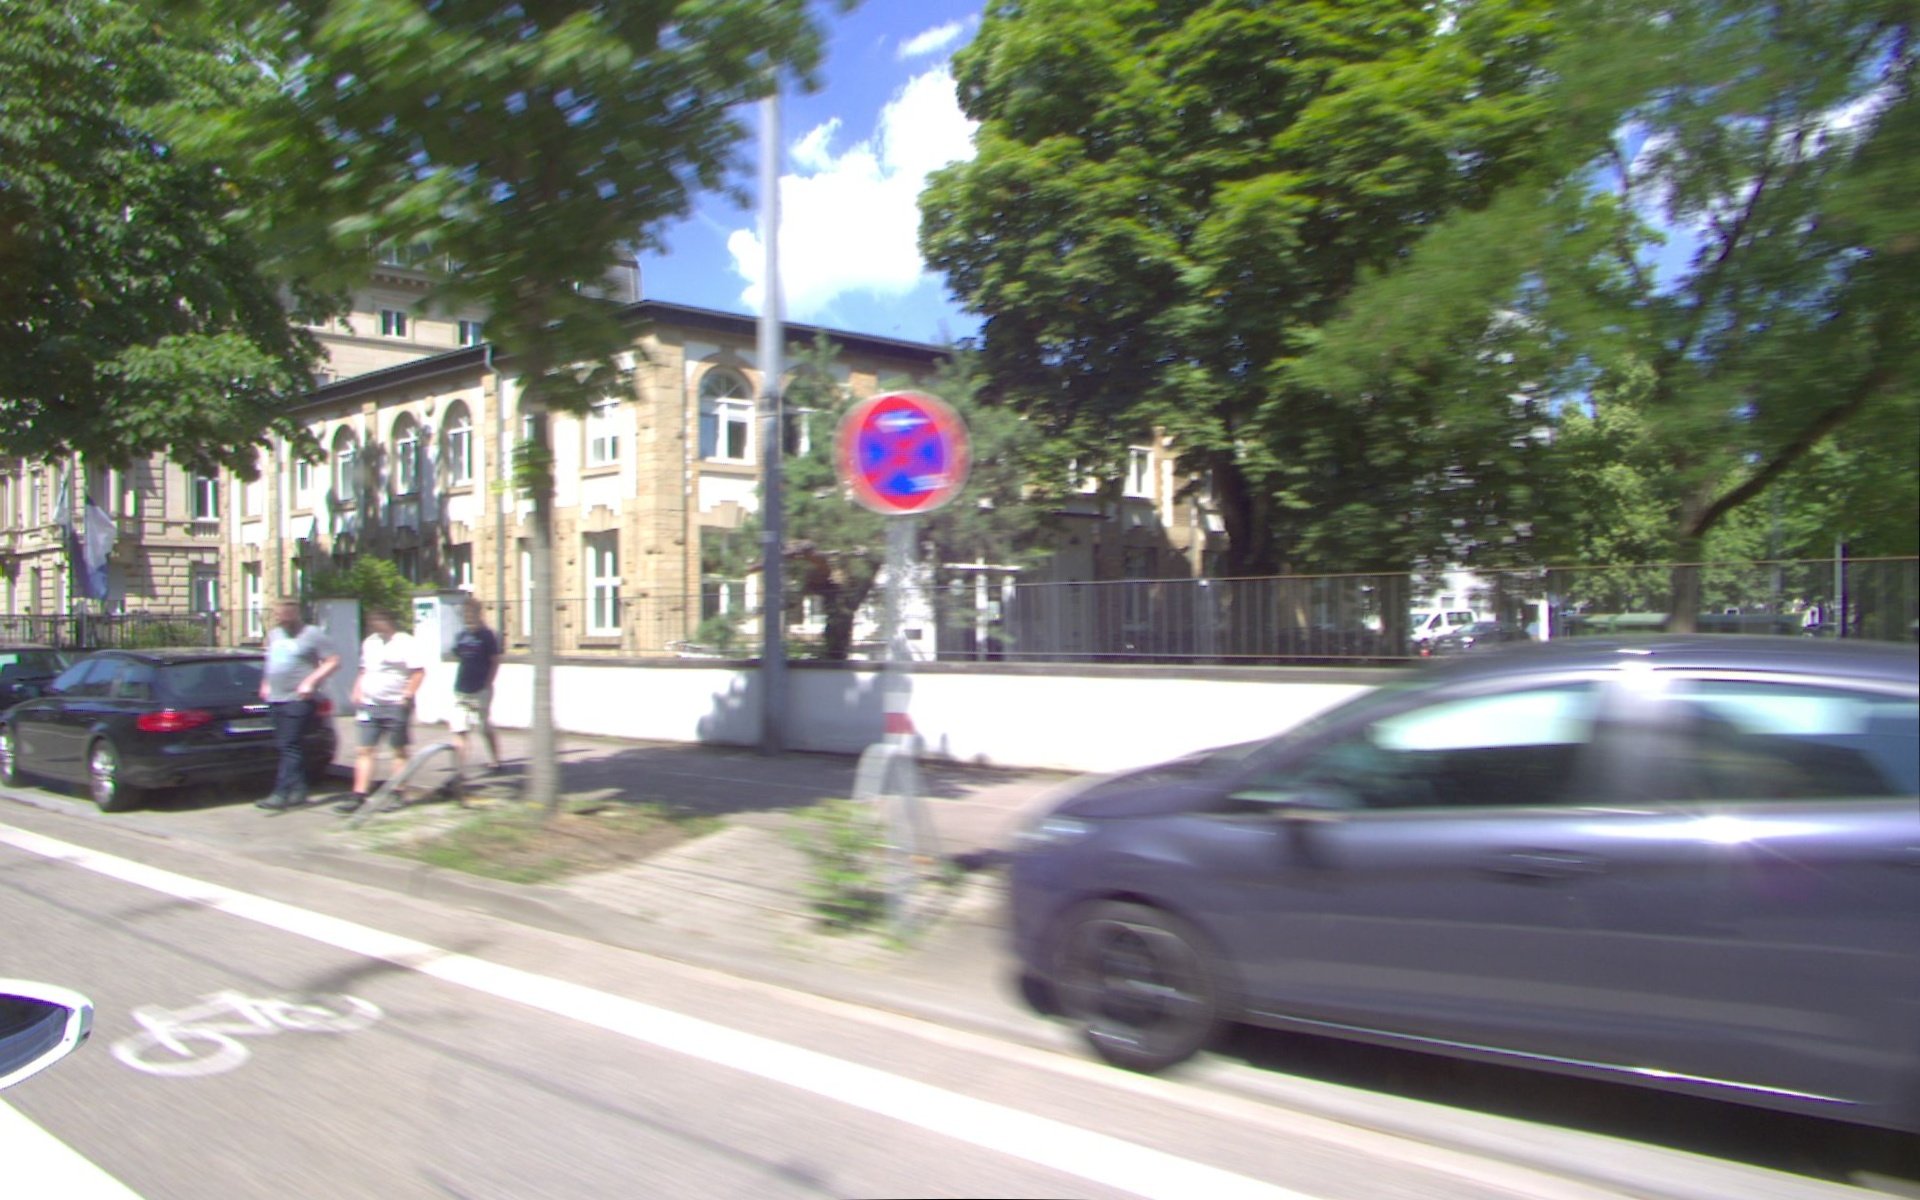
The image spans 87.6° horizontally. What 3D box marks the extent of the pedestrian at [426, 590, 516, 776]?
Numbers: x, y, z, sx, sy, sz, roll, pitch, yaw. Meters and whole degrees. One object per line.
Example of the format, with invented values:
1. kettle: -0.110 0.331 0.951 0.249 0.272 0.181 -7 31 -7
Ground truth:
1. pedestrian: -4.769 0.792 9.785 0.608 1.760 0.478 -1 0 -4

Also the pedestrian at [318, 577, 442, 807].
1. pedestrian: -4.922 0.759 8.525 0.712 1.884 0.576 -1 0 -4

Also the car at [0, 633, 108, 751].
1. car: -13.591 1.205 13.737 4.183 1.441 1.708 -2 -1 32

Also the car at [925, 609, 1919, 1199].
1. car: 1.927 0.808 3.637 3.814 1.504 1.637 -2 -1 29

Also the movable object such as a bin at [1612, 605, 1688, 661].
1. movable object such as a bin: 19.040 0.889 27.644 1.392 1.482 1.379 0 -1 -38

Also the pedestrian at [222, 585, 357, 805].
1. pedestrian: -5.947 0.820 8.911 0.795 1.884 0.576 -1 0 -4

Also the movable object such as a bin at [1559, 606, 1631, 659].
1. movable object such as a bin: 18.337 0.923 28.915 1.392 1.482 1.379 0 -1 -38

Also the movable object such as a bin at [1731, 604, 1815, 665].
1. movable object such as a bin: 20.419 0.854 25.152 1.392 1.482 1.379 0 -1 -38

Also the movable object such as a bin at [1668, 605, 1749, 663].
1. movable object such as a bin: 19.712 0.885 26.386 1.391 1.482 1.379 0 -1 -36

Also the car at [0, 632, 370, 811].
1. car: -8.258 1.099 10.391 4.464 1.474 1.872 -2 -1 33

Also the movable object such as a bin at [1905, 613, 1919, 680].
1. movable object such as a bin: 21.842 1.014 21.718 1.382 1.482 1.388 0 -1 -9
